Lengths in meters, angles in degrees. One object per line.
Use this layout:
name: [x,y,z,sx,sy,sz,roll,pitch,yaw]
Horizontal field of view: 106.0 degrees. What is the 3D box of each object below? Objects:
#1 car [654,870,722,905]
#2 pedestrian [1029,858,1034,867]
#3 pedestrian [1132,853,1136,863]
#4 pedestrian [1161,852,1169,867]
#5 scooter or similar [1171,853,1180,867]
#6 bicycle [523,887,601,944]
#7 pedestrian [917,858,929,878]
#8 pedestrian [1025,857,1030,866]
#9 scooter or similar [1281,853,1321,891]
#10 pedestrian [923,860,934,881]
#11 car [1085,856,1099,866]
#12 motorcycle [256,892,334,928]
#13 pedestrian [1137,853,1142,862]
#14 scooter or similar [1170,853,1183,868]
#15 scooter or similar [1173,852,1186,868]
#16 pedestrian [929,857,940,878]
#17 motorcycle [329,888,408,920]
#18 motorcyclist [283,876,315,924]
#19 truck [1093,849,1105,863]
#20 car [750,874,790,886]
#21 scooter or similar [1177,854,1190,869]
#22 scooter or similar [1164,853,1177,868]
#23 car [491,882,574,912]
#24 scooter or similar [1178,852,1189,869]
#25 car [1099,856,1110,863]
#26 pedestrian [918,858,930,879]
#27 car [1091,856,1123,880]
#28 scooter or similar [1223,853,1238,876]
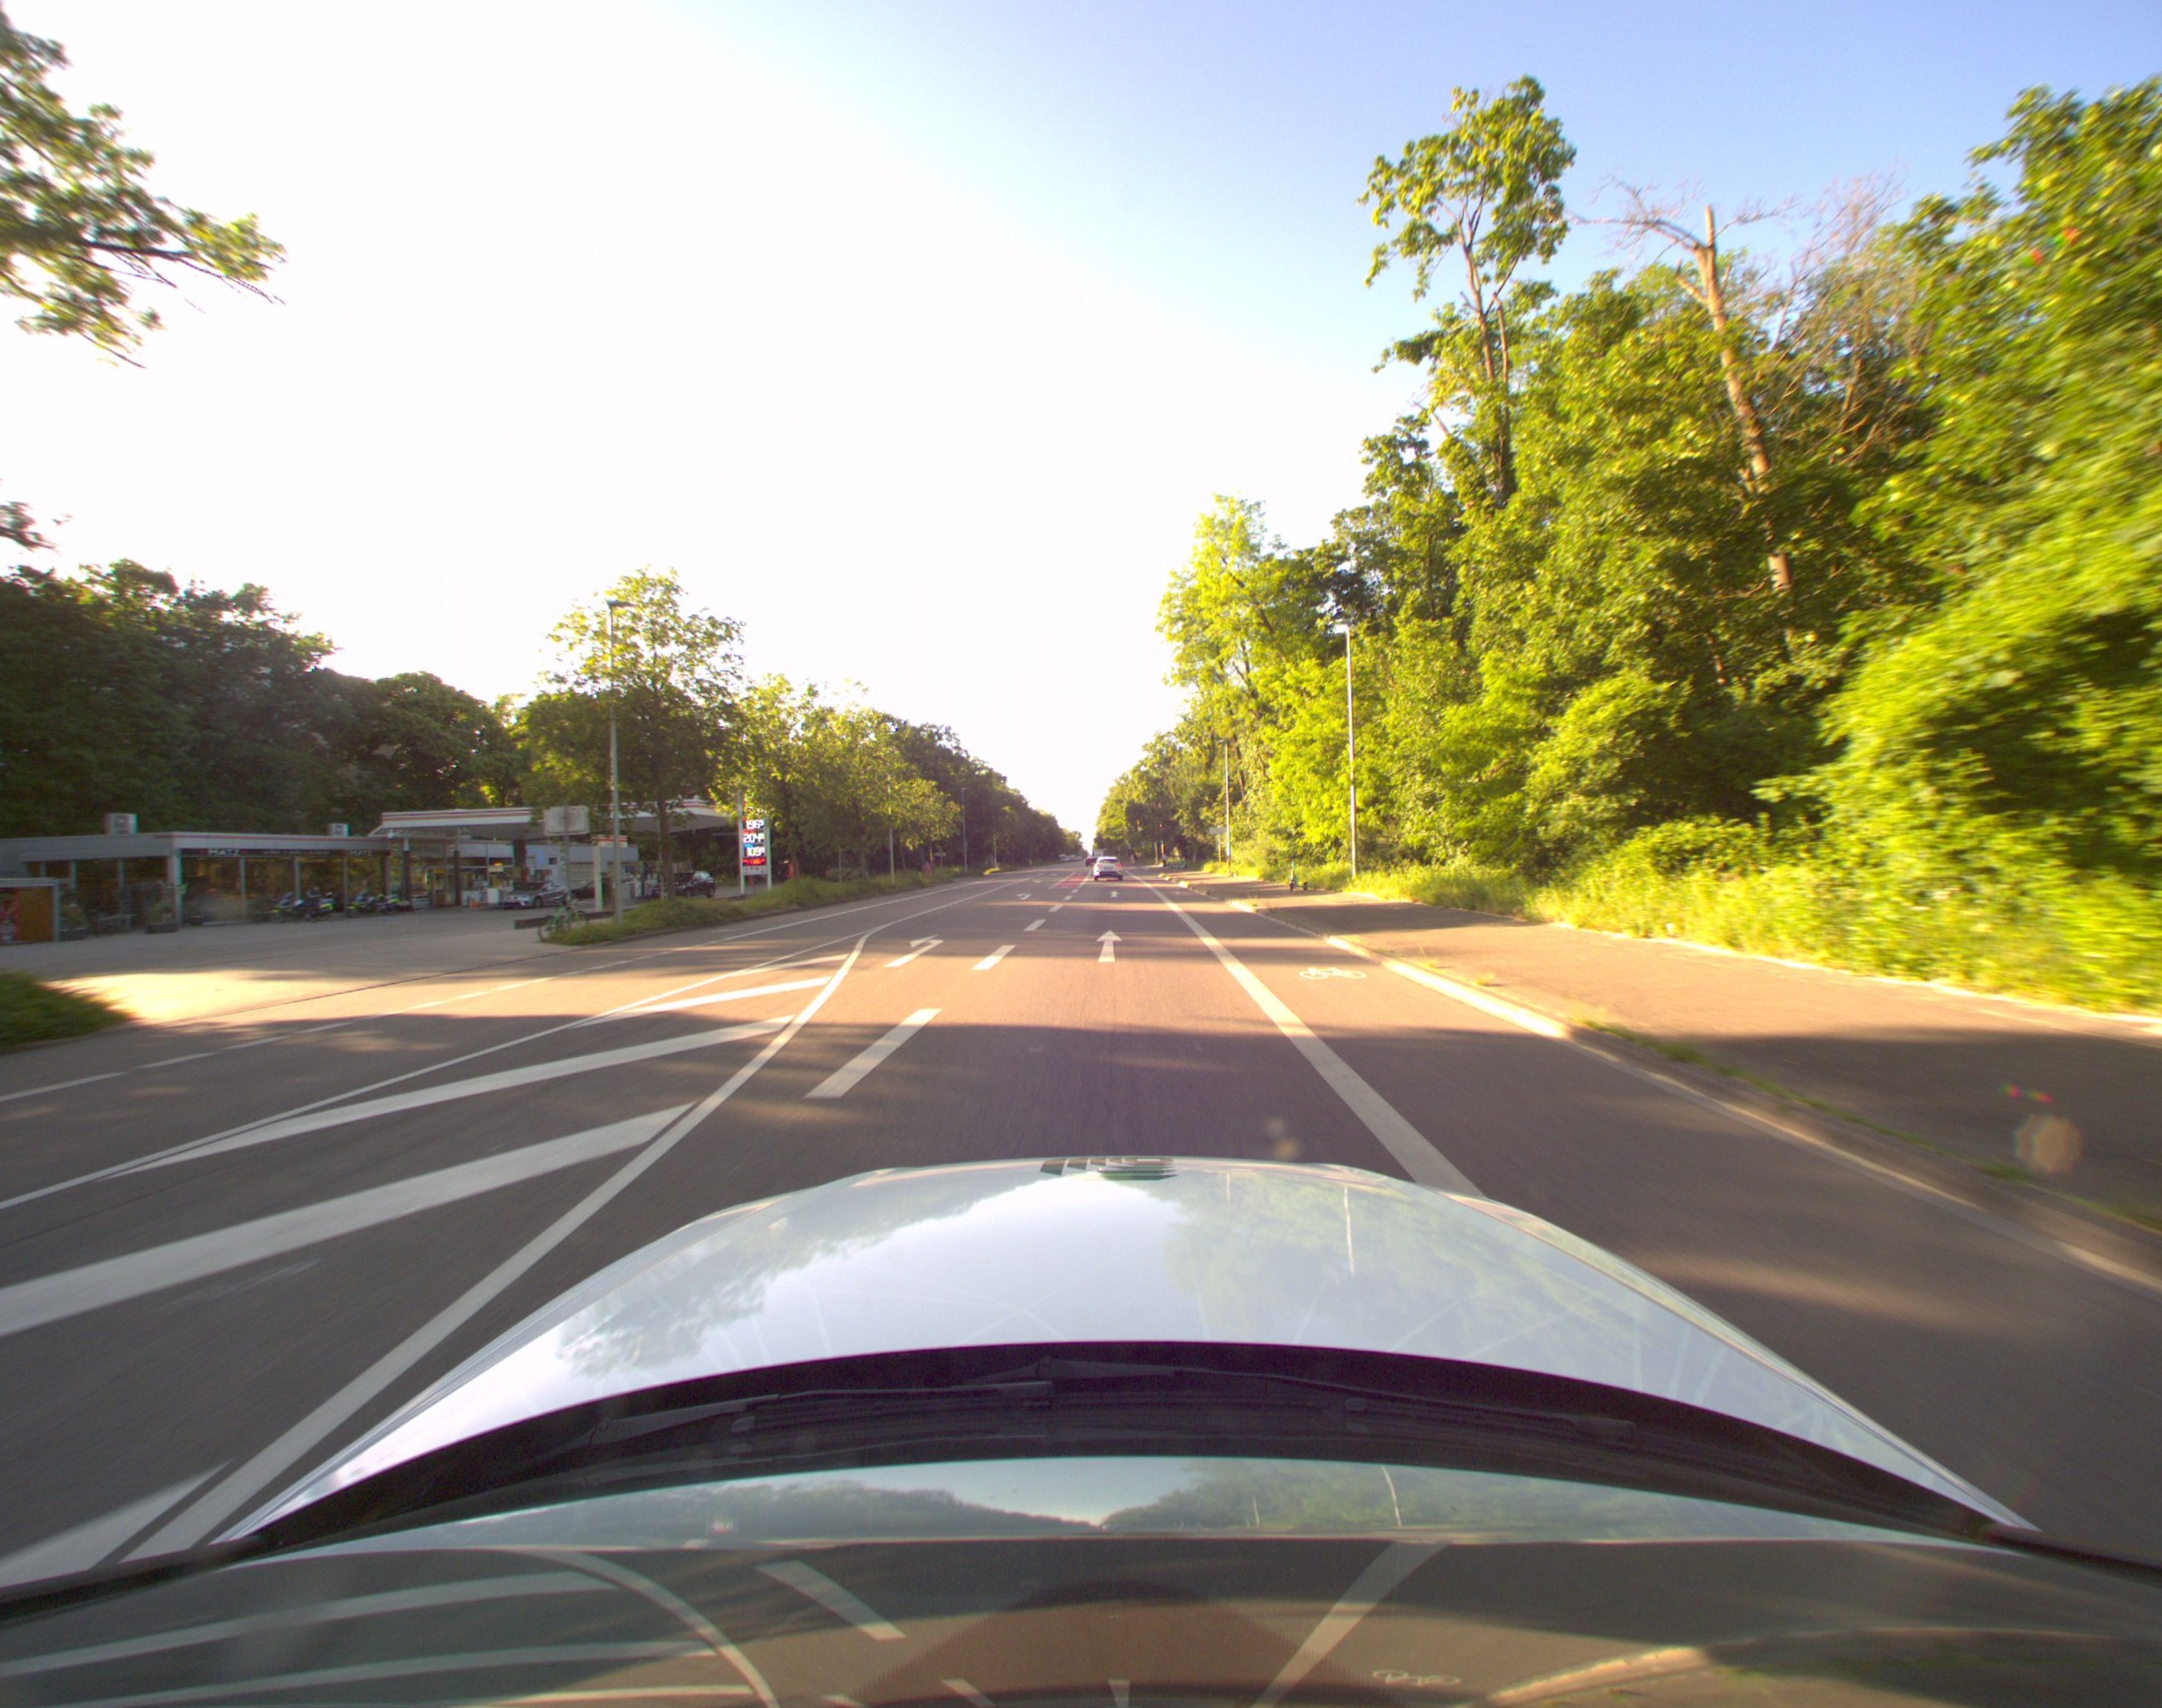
car: [-21.694,1.819,45.138,1.707,1.691,4.449,-3,0,-3]
pedestrian: [-11.034,1.863,180.799,0.828,2.013,1.269,-3,0,1]
pedestrian: [9.252,0.673,142.229,0.696,1.653,0.876,-3,0,0]
pedestrian: [8.951,0.552,87.045,0.751,1.563,0.803,-3,0,6]
scooter or similar: [9.417,0.600,80.837,0.679,1.423,1.682,-3,0,1]
bicycle: [-13.102,1.529,20.646,0.653,1.250,2.156,-3,0,-4]
pedestrian: [-15.911,1.414,81.862,0.710,2.013,0.880,-3,-1,32]
pedestrian: [-11.946,1.597,180.819,0.860,2.013,1.269,-3,0,1]
scooter or similar: [7.630,0.618,28.208,1.550,1.250,0.528,-2,0,-42]
pedestrian: [-15.123,1.618,80.813,0.711,2.013,0.801,-3,-1,20]
car: [1.752,1.068,130.397,1.986,1.519,4.002,-3,0,2]
motorcycle: [-36.580,2.579,37.930,1.120,1.451,2.521,-3,0,45]
pedestrian: [10.196,0.623,142.226,0.741,1.599,0.798,-3,0,0]
scooter or similar: [9.107,0.610,77.849,0.683,1.423,1.673,-2,0,-14]
scooter or similar: [9.176,0.598,75.775,0.682,1.423,1.674,-2,0,-12]
pedestrian: [-14.866,1.368,82.458,0.710,2.013,0.752,-3,-1,32]
motorcycle: [-36.496,2.539,41.768,1.120,1.451,2.763,-3,0,28]
motorcyclist: [-36.518,2.132,38.023,1.022,2.182,1.110,-2,-1,-44]
truck: [4.684,0.489,213.816,2.790,3.570,8.033,-1,0,0]
car: [-40.311,3.351,105.602,1.974,1.314,4.442,-3,0,33]
scooter or similar: [9.238,0.652,73.676,0.467,1.306,1.470,-2,0,-21]
scooter or similar: [8.743,0.633,79.534,0.683,1.423,1.673,-2,0,-14]
car: [-29.904,2.304,44.574,1.705,1.376,4.060,-3,0,0]
scooter or similar: [9.014,0.596,71.825,0.679,1.423,1.682,-3,0,1]
car: [4.923,1.178,170.035,1.989,1.327,3.996,-3,0,-2]
pedestrian: [-15.438,1.434,80.023,0.710,2.013,0.801,-3,0,21]
car: [1.636,0.857,52.658,1.757,1.459,3.814,-1,0,-2]
scooter or similar: [8.429,0.609,46.056,0.531,1.250,1.542,-3,0,1]
